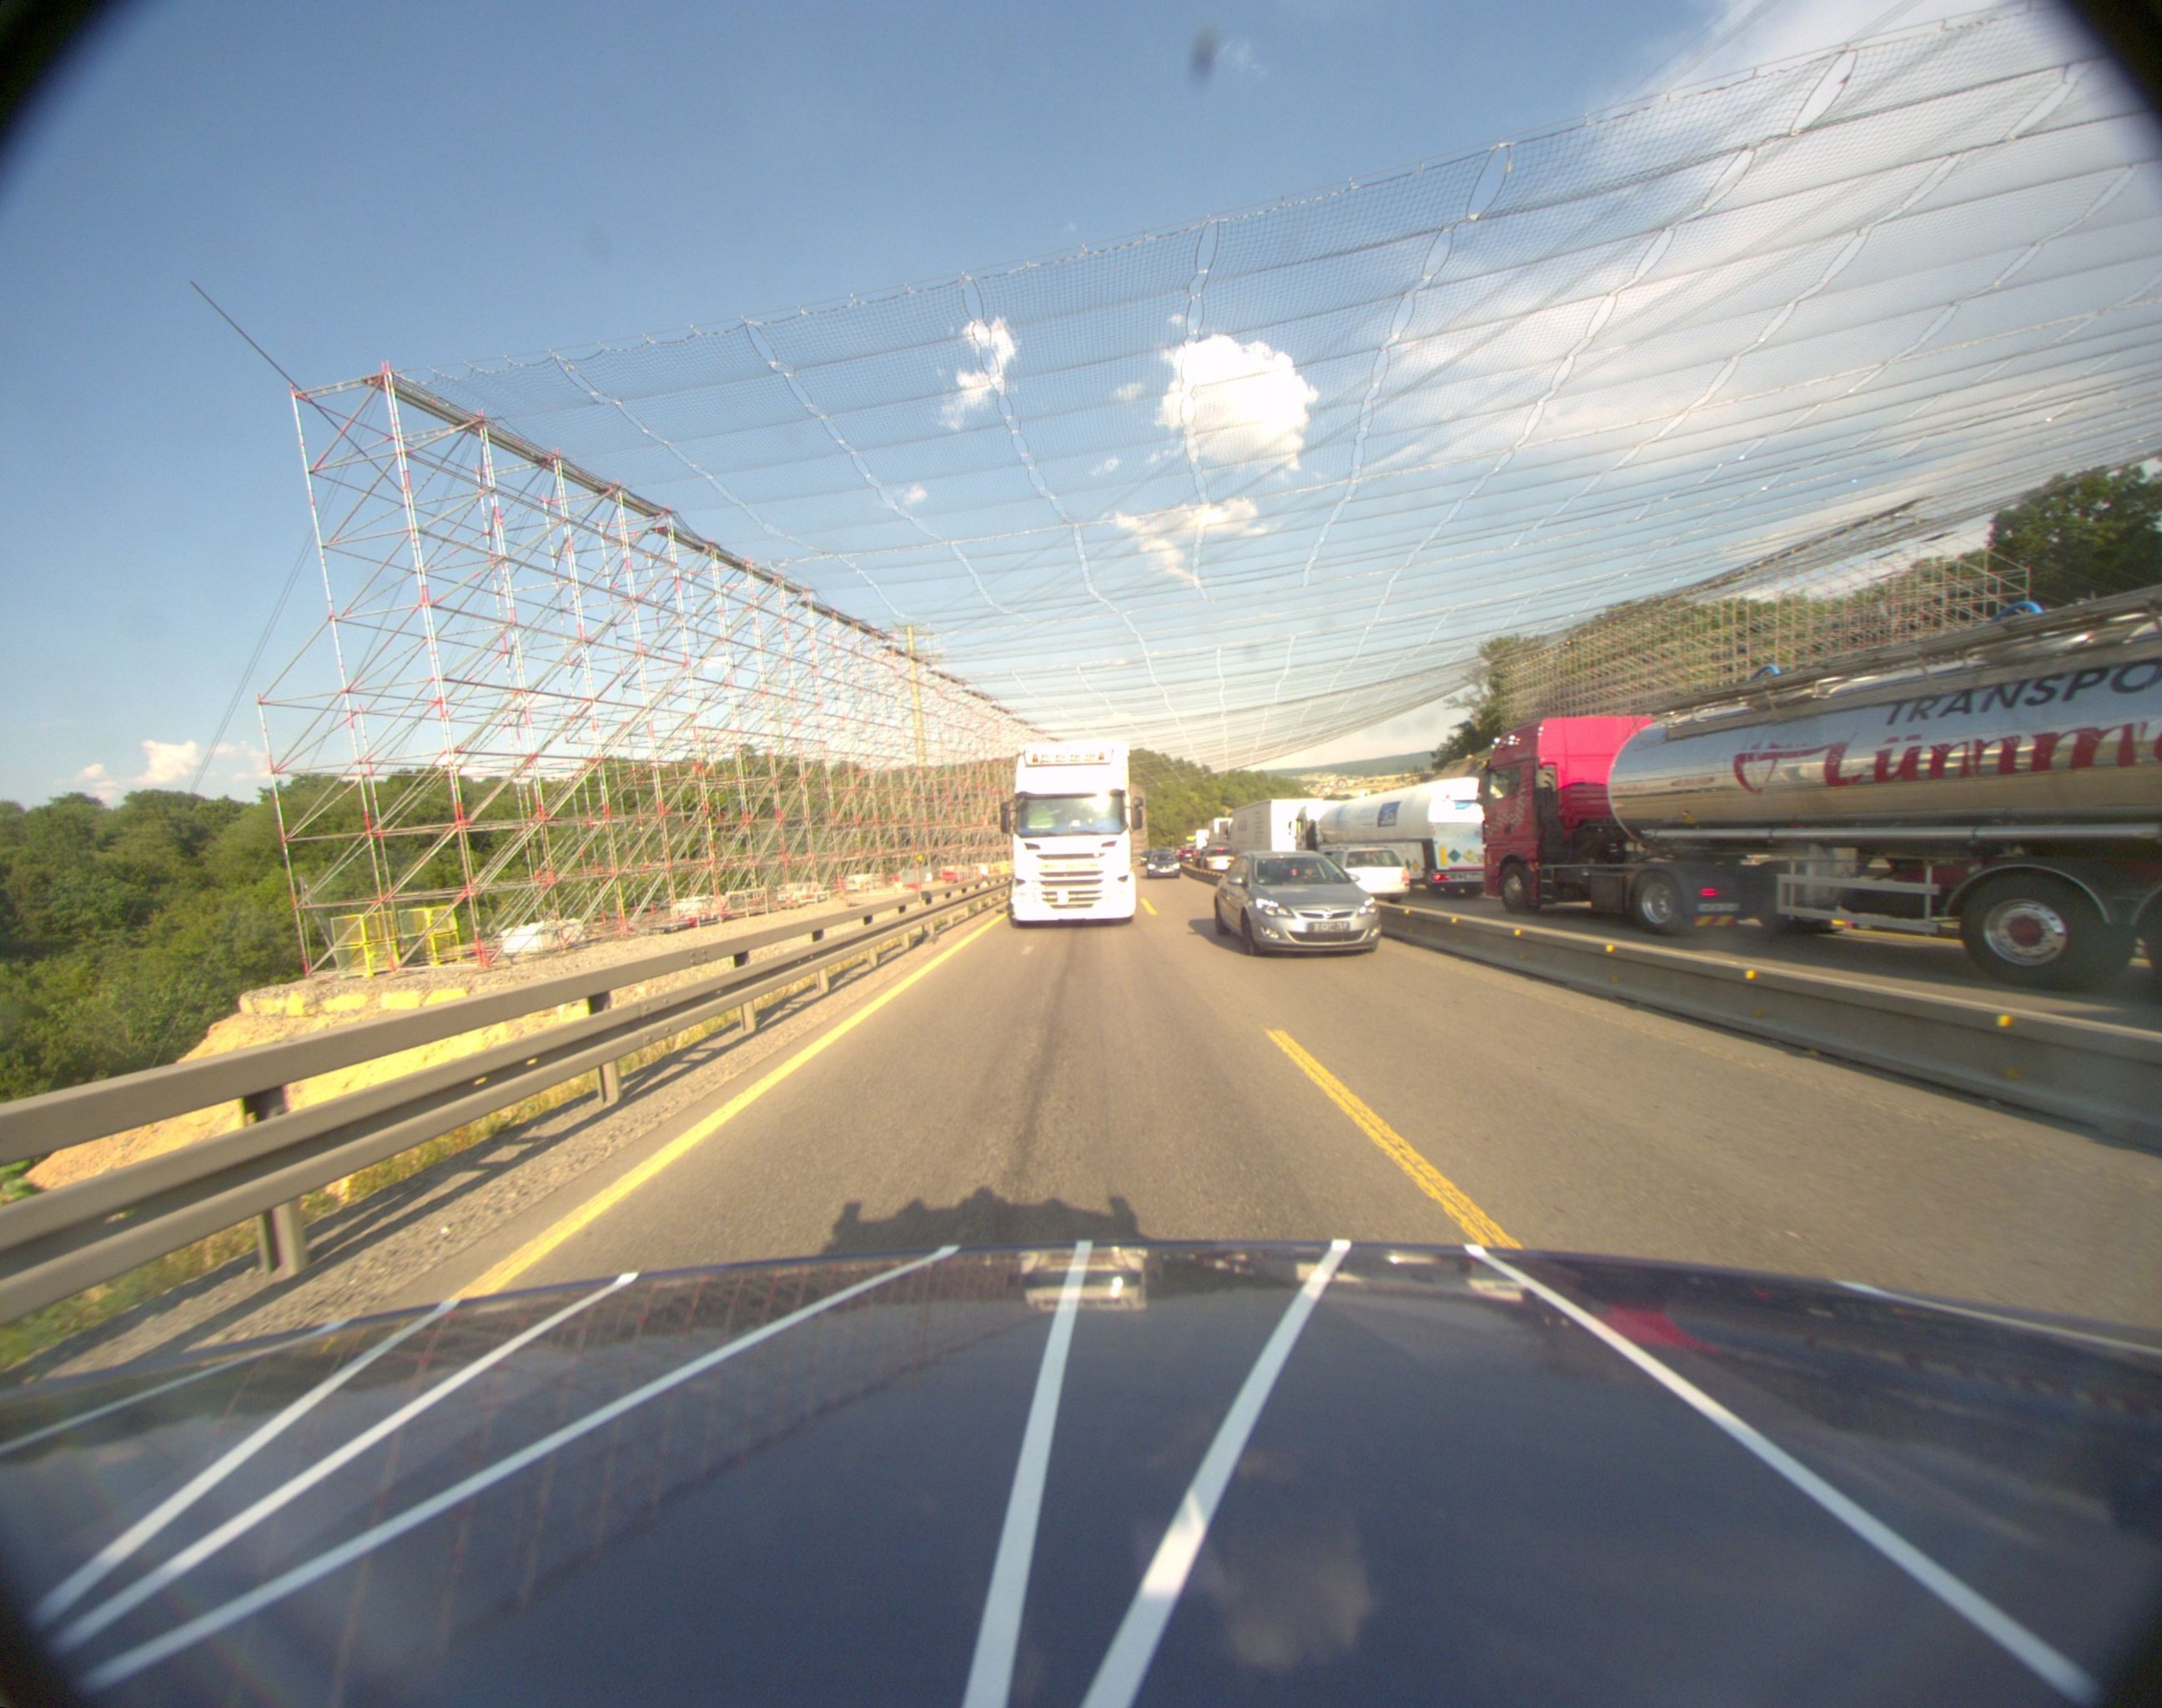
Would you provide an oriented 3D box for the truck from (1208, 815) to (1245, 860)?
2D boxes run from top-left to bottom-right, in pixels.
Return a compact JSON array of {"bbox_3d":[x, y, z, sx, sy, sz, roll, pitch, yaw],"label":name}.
[{"bbox_3d":[13.382,-1.485,70.352,2.636,3.888,7.206,-2,1,5],"label":"truck"}]

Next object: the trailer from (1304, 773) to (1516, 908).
[{"bbox_3d":[10.093,-0.439,25.244,2.312,3.342,12.052,-2,1,3],"label":"trailer"}]

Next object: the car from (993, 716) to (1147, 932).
[{"bbox_3d":[-0.123,-0.636,18.818,2.858,4.092,8.279,-2,1,1],"label":"car"}]

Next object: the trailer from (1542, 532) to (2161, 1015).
[{"bbox_3d":[9.598,-0.681,7.806,2.313,3.768,12.049,-2,1,0],"label":"trailer"}]

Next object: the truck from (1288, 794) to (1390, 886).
[{"bbox_3d":[10.366,-0.550,31.101,2.419,3.351,5.617,-2,1,3],"label":"truck"}]

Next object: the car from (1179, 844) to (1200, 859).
[{"bbox_3d":[10.448,-0.231,73.340,1.611,1.368,3.901,-2,1,3],"label":"car"}]

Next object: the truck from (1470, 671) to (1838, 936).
[{"bbox_3d":[9.740,-0.763,13.796,2.438,3.763,5.616,-2,1,0],"label":"truck"}]

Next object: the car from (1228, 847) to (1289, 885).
[{"bbox_3d":[7.360,0.463,31.900,1.631,1.418,4.387,-2,1,1],"label":"car"}]

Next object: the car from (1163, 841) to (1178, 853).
[{"bbox_3d":[12.323,-0.929,104.331,1.812,1.559,4.366,-2,1,5],"label":"car"}]

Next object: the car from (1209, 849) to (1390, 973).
[{"bbox_3d":[3.097,0.709,11.680,1.759,1.464,4.353,-2,1,4],"label":"car"}]

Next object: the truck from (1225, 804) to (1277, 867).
[{"bbox_3d":[11.503,-1.239,51.970,2.479,4.023,5.617,-2,1,3],"label":"truck"}]

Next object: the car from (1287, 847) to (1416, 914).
[{"bbox_3d":[6.650,0.560,19.225,1.631,1.418,4.657,-2,1,1],"label":"car"}]

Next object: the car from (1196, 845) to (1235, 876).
[{"bbox_3d":[7.681,0.335,43.635,1.755,1.578,3.943,-2,1,3],"label":"car"}]

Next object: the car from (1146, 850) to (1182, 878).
[{"bbox_3d":[4.495,0.510,41.482,1.764,1.376,3.823,-2,1,4],"label":"car"}]

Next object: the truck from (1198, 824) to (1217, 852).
[{"bbox_3d":[20.313,-2.566,122.348,2.726,4.203,14.175,-2,1,9],"label":"truck"}]

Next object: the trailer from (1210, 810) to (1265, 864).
[{"bbox_3d":[12.977,-1.391,64.196,2.676,3.992,13.335,-2,1,4],"label":"trailer"}]

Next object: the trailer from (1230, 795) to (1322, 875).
[{"bbox_3d":[11.119,-1.070,44.985,2.433,3.940,14.099,-2,1,3],"label":"trailer"}]

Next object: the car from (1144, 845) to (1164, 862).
[{"bbox_3d":[6.534,-0.050,67.727,1.675,1.376,3.824,-2,1,6],"label":"car"}]
